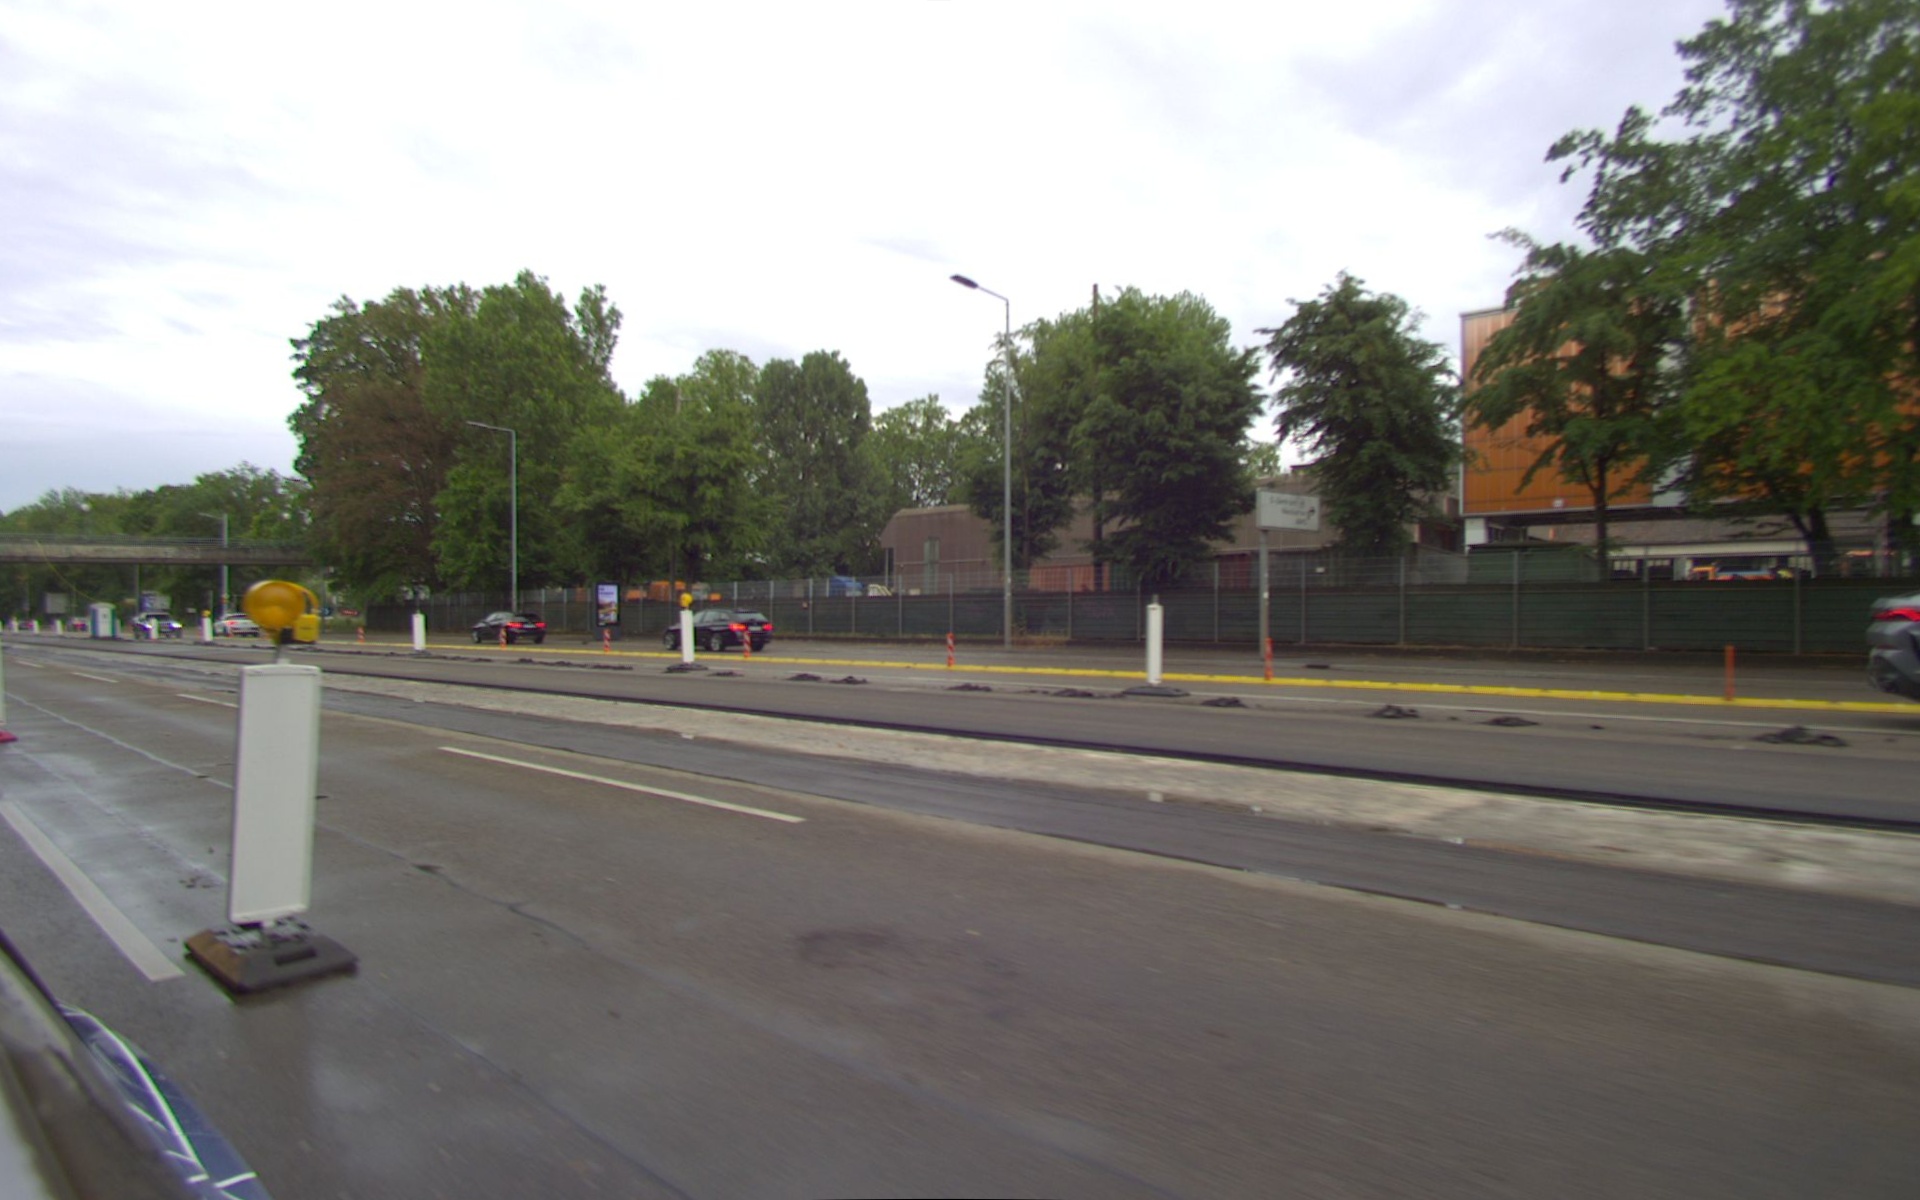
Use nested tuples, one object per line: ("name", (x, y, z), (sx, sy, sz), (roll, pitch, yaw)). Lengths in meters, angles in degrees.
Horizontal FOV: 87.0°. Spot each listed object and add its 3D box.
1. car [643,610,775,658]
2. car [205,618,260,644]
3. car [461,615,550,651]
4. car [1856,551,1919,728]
("car", (-8.577, 1.103, 34.339), (4.763, 1.465, 2.025), (-1, 0, 42))
("car", (-46.439, 1.965, 64.574), (4.264, 1.524, 1.973), (-2, -1, 42))
("car", (-20.120, 1.453, 44.740), (4.262, 1.440, 1.973), (-2, -1, 40))
("car", (11.081, 0.312, 8.646), (5.053, 1.625, 2.055), (-1, 0, 41))
